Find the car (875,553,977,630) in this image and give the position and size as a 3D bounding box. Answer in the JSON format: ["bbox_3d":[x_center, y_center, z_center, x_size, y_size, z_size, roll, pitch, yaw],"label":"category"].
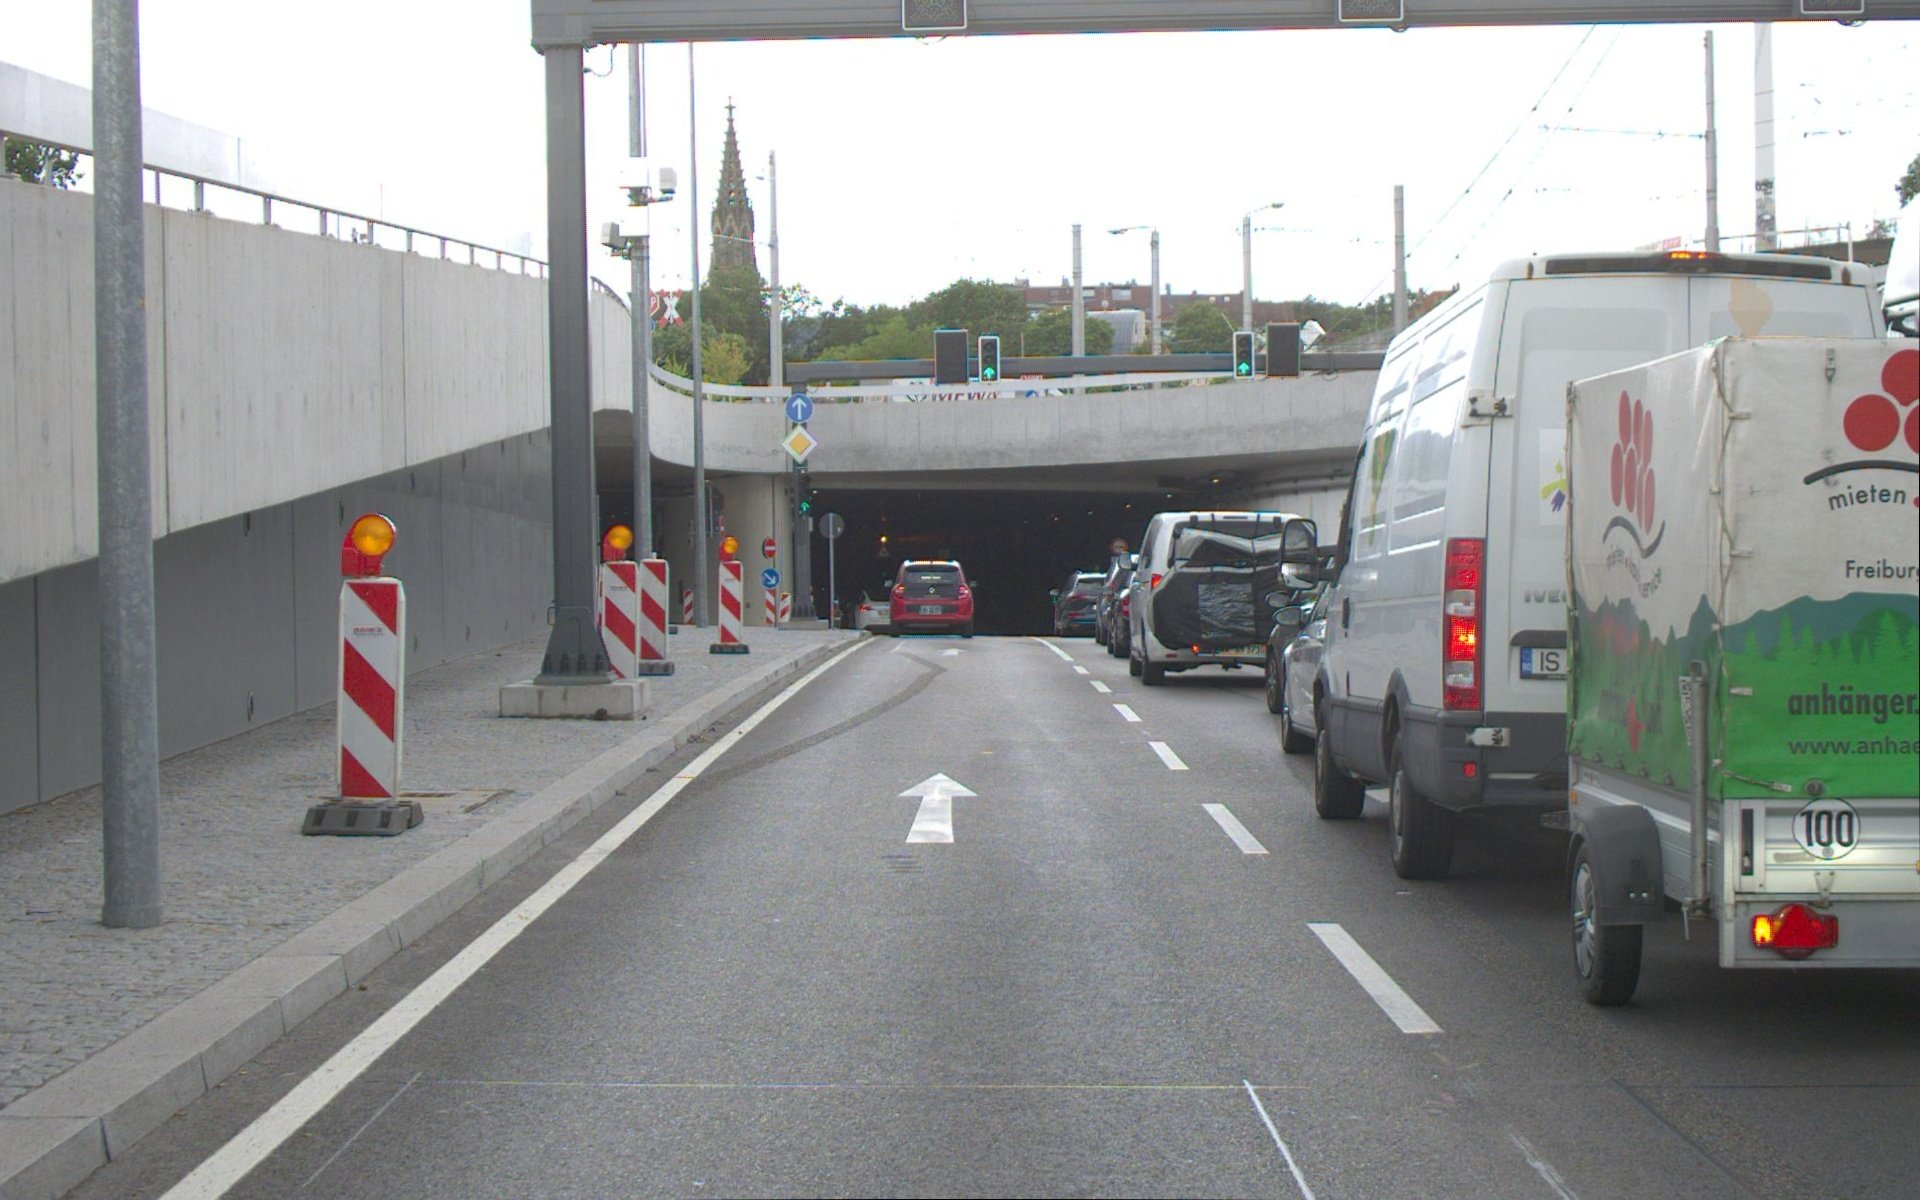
[{"bbox_3d":[-0.699,-0.146,68.538,1.660,1.483,3.567,0,-1,-6],"label":"car"}]

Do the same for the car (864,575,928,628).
[{"bbox_3d":[-2.282,0.036,121.483,1.993,1.767,4.001,0,1,-5],"label":"car"}]

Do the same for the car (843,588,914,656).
[{"bbox_3d":[-2.571,0.663,107.609,1.993,2.007,4.001,0,1,-5],"label":"car"}]

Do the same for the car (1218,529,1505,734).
[{"bbox_3d":[3.274,0.208,28.685,1.681,1.539,3.693,1,1,-4],"label":"car"}]

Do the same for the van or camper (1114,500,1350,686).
[{"bbox_3d":[2.859,-0.118,37.345,1.993,1.839,5.508,1,1,-1],"label":"van or camper"}]

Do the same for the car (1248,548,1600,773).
[{"bbox_3d":[3.046,0.364,23.328,1.763,1.378,4.039,0,0,-1],"label":"car"}]

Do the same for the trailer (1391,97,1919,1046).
[{"bbox_3d":[2.881,-0.066,12.120,2.103,2.630,4.810,3,0,2],"label":"trailer"}]

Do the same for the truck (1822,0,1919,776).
[{"bbox_3d":[7.306,-1.257,17.555,3.805,4.615,7.443,1,1,0],"label":"truck"}]

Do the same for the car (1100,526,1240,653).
[{"bbox_3d":[2.972,-0.184,49.292,1.819,1.678,4.000,1,2,1],"label":"car"}]

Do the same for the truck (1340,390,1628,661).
[{"bbox_3d":[6.594,-0.911,44.272,2.649,3.174,7.426,-1,0,1],"label":"truck"}]

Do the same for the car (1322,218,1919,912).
[{"bbox_3d":[2.982,-0.156,15.957,2.058,2.619,5.942,0,0,1],"label":"car"}]

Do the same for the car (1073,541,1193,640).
[{"bbox_3d":[2.979,-0.176,59.772,1.818,1.575,4.000,3,0,0],"label":"car"}]

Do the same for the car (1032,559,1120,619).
[{"bbox_3d":[2.500,-0.222,74.597,1.664,1.243,3.567,0,-1,-2],"label":"car"}]
